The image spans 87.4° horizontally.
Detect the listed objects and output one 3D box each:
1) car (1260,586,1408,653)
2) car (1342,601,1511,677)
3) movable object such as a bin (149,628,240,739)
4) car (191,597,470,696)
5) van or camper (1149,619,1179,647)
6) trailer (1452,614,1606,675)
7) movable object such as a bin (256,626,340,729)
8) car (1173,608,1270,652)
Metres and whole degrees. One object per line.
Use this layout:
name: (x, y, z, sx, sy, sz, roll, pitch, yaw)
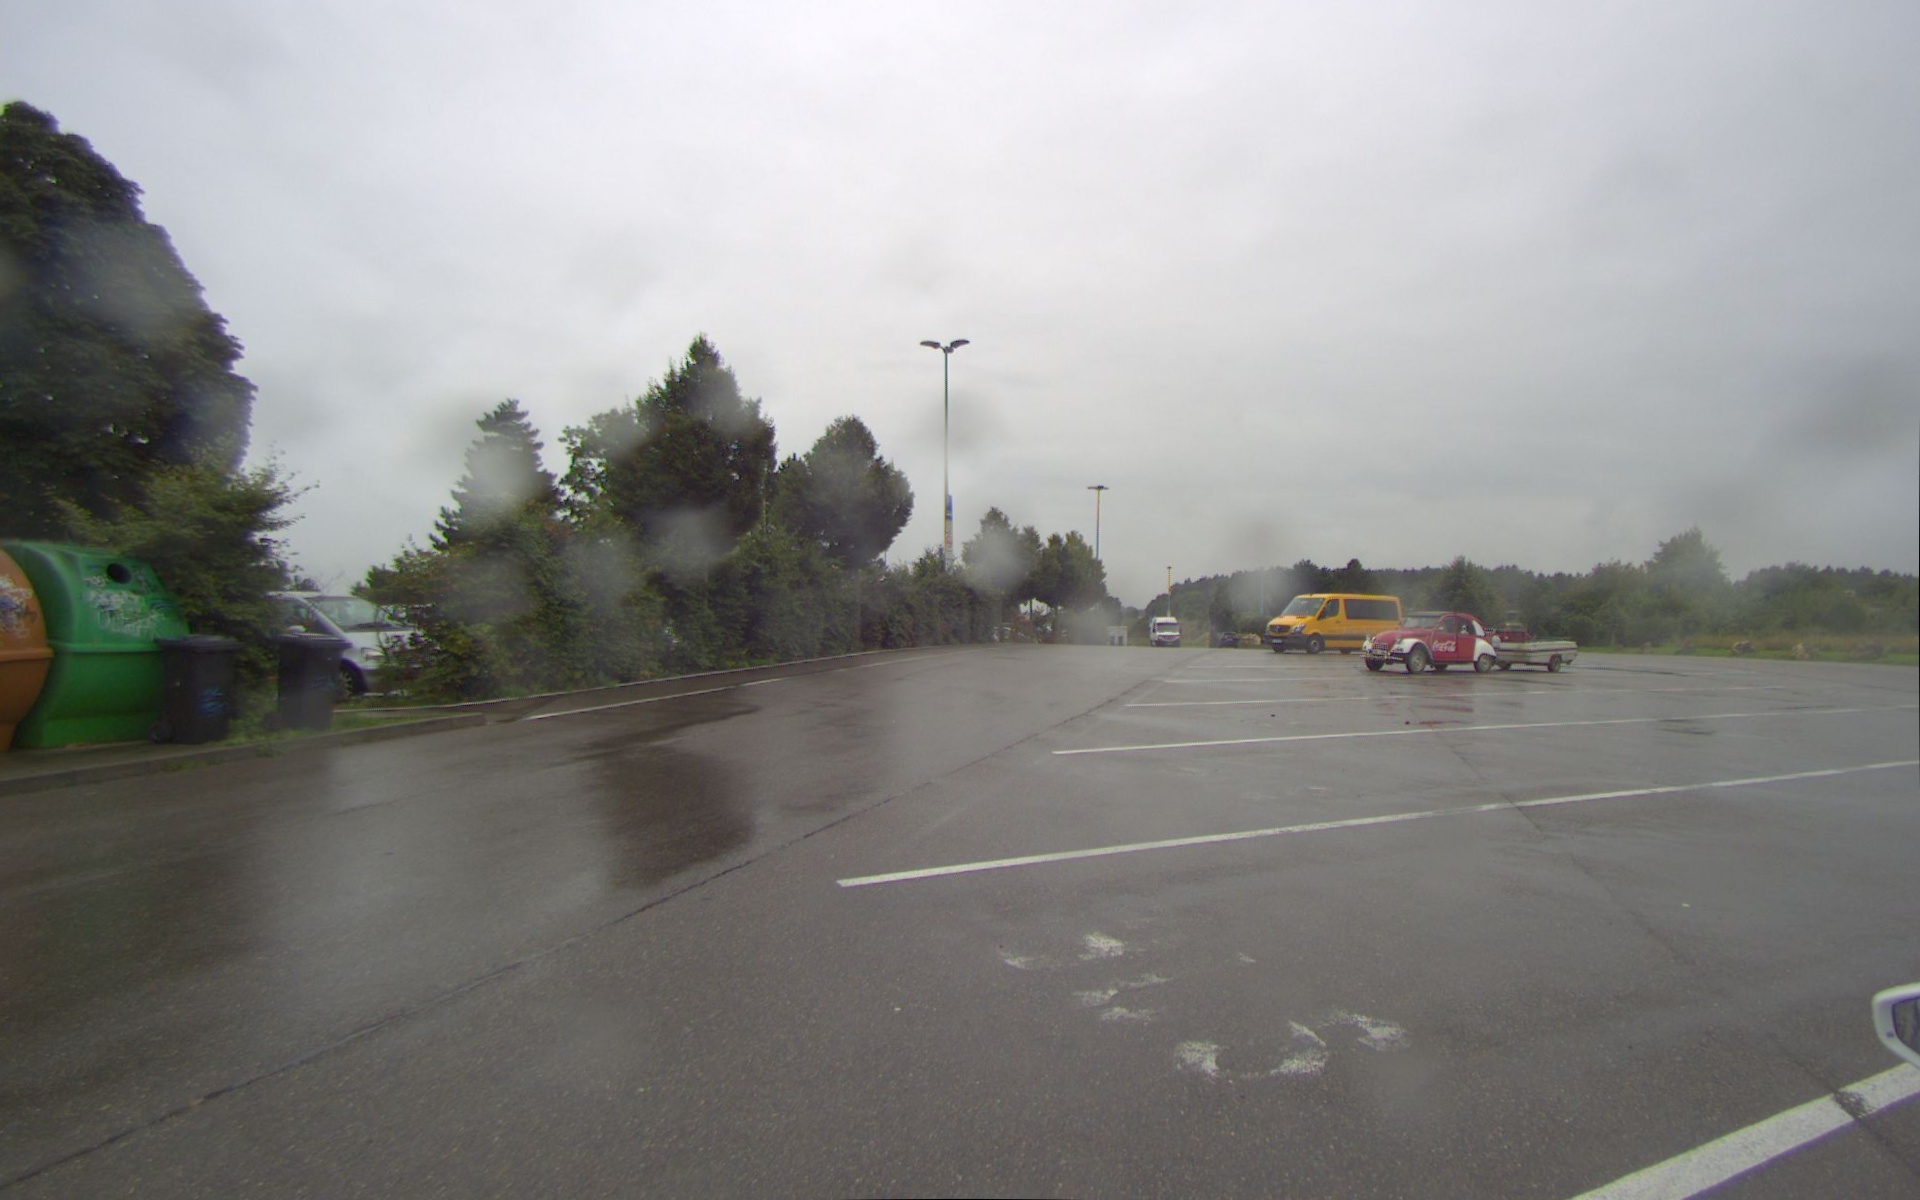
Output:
car: (14.551, 0.832, 38.951, 5.952, 2.411, 1.986, 2, -3, -29)
car: (11.827, 0.998, 25.468, 3.946, 1.800, 1.817, 1, -2, -25)
movable object such as a bin: (-6.748, 0.720, 8.858, 0.499, 0.935, 0.438, 0, 1, 22)
car: (-9.521, 0.643, 15.234, 3.576, 1.286, 1.807, 1, 0, 21)
van or camper: (16.597, 2.648, 81.848, 1.960, 2.195, 4.002, 1, -1, 5)
trailer: (15.390, 1.185, 27.161, 3.946, 1.553, 1.690, 1, -1, -26)
movable object such as a bin: (-6.243, 0.721, 9.478, 0.499, 0.928, 0.438, 0, 0, 19)
car: (14.244, 1.603, 54.763, 4.689, 2.231, 1.996, 1, 1, -12)
